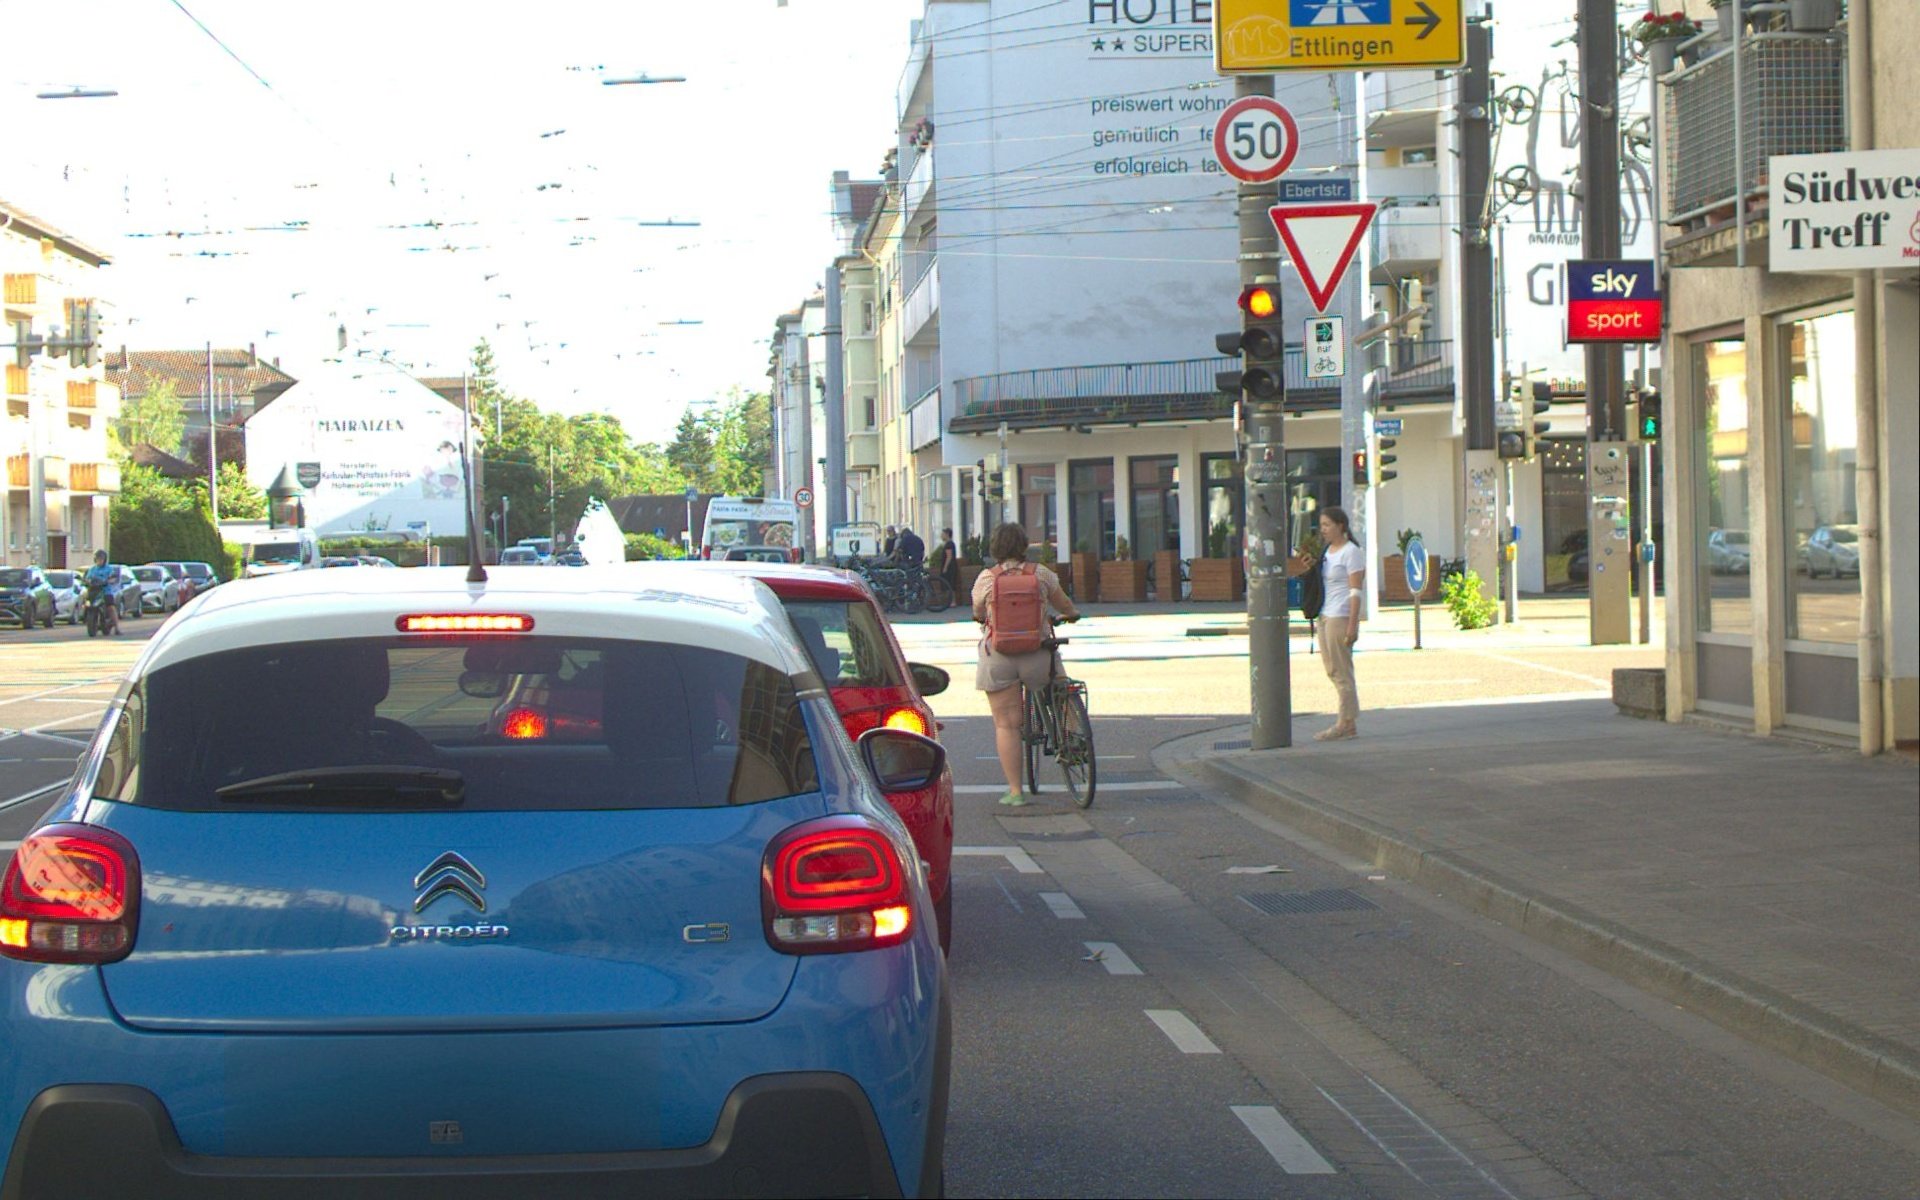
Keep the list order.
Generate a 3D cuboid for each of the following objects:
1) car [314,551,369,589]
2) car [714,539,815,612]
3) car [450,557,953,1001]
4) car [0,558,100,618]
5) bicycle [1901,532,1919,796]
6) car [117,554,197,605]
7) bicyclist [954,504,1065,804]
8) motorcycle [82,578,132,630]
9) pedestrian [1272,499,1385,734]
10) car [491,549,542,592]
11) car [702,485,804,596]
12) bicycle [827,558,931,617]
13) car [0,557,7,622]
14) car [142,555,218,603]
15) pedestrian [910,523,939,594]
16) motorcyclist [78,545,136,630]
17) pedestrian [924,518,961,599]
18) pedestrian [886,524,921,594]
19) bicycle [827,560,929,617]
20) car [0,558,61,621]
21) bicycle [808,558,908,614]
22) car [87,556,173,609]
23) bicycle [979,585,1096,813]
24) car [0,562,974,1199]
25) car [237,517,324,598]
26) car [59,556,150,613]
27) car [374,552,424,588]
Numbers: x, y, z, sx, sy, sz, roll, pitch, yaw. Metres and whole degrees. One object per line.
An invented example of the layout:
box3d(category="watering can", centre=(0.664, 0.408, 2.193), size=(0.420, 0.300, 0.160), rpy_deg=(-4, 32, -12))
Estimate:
box3d(category="car", centre=(-25.974, -1.283, 144.570), size=(1.950, 1.514, 4.001), rpy_deg=(-1, 1, -6))
box3d(category="car", centre=(-3.881, -0.514, 67.805), size=(1.786, 1.354, 3.915), rpy_deg=(-1, 1, -6))
box3d(category="car", centre=(-1.007, 0.581, 13.585), size=(1.680, 1.457, 4.001), rpy_deg=(0, 1, -4))
box3d(category="car", centre=(-24.305, -0.336, 91.948), size=(1.950, 1.514, 4.001), rpy_deg=(-1, 1, -6))
box3d(category="bicycle", centre=(4.913, 0.316, 15.753), size=(0.640, 1.260, 1.911), rpy_deg=(-1, 1, -1))
box3d(category="car", centre=(-25.357, -0.674, 108.658), size=(1.950, 1.514, 4.001), rpy_deg=(-1, 1, -6))
box3d(category="bicyclist", centre=(0.290, 0.307, 20.600), size=(0.600, 1.740, 1.084), rpy_deg=(-1, 1, -1))
box3d(category="motorcycle", centre=(-16.693, 0.073, 67.287), size=(0.751, 0.973, 2.098), rpy_deg=(-1, 1, -9))
box3d(category="pedestrian", centre=(2.607, 0.110, 24.375), size=(0.751, 1.629, 0.740), rpy_deg=(-1, 1, 6))
box3d(category="car", centre=(-22.042, -1.504, 170.841), size=(2.338, 2.032, 5.051), rpy_deg=(-1, 1, -6))
box3d(category="car", centre=(-4.431, -1.277, 73.241), size=(2.079, 2.262, 5.652), rpy_deg=(0, 1, -4))
box3d(category="bicycle", centre=(-1.557, -0.241, 65.814), size=(1.904, 1.061, 0.642), rpy_deg=(-1, 1, -7))
box3d(category="car", centre=(-23.320, -0.194, 79.226), size=(1.950, 1.514, 4.001), rpy_deg=(-1, 1, -6))
box3d(category="car", centre=(-26.067, -0.723, 115.000), size=(1.950, 1.514, 4.001), rpy_deg=(-1, 1, -6))
box3d(category="pedestrian", centre=(-0.719, -0.847, 70.007), size=(0.467, 1.415, 0.527), rpy_deg=(-1, 1, -13))
box3d(category="motorcyclist", centre=(-16.674, -0.252, 67.213), size=(0.991, 1.625, 0.739), rpy_deg=(-1, 1, -9))
box3d(category="pedestrian", centre=(-0.367, -0.855, 70.750), size=(0.553, 1.642, 0.538), rpy_deg=(-2, 1, -24))
box3d(category="pedestrian", centre=(-1.152, -0.845, 70.258), size=(0.525, 1.415, 0.546), rpy_deg=(-1, 1, 20))
box3d(category="bicycle", centre=(-1.606, -0.235, 67.120), size=(1.904, 1.061, 0.642), rpy_deg=(-1, 1, -7))
box3d(category="car", centre=(-23.785, -0.268, 85.890), size=(1.950, 1.514, 4.001), rpy_deg=(-1, 1, -6))
box3d(category="bicycle", centre=(-2.025, -0.273, 68.313), size=(1.904, 1.061, 0.642), rpy_deg=(-1, 1, -7))
box3d(category="car", centre=(-24.924, -0.543, 103.379), size=(1.950, 1.514, 4.001), rpy_deg=(-1, 1, -6))
box3d(category="bicycle", centre=(0.447, 0.563, 20.642), size=(0.613, 1.260, 1.911), rpy_deg=(-1, 1, -1))
box3d(category="car", centre=(-0.960, 0.673, 7.375), size=(1.680, 1.457, 4.001), rpy_deg=(0, 1, -4))
box3d(category="car", centre=(-23.660, -1.505, 119.936), size=(2.493, 2.703, 5.839), rpy_deg=(-1, 1, -7))
box3d(category="car", centre=(-24.457, -0.459, 98.375), size=(1.950, 1.514, 4.001), rpy_deg=(-1, 1, -6))
box3d(category="car", centre=(-25.169, -1.368, 154.266), size=(1.950, 1.514, 4.001), rpy_deg=(-1, 1, -6))
